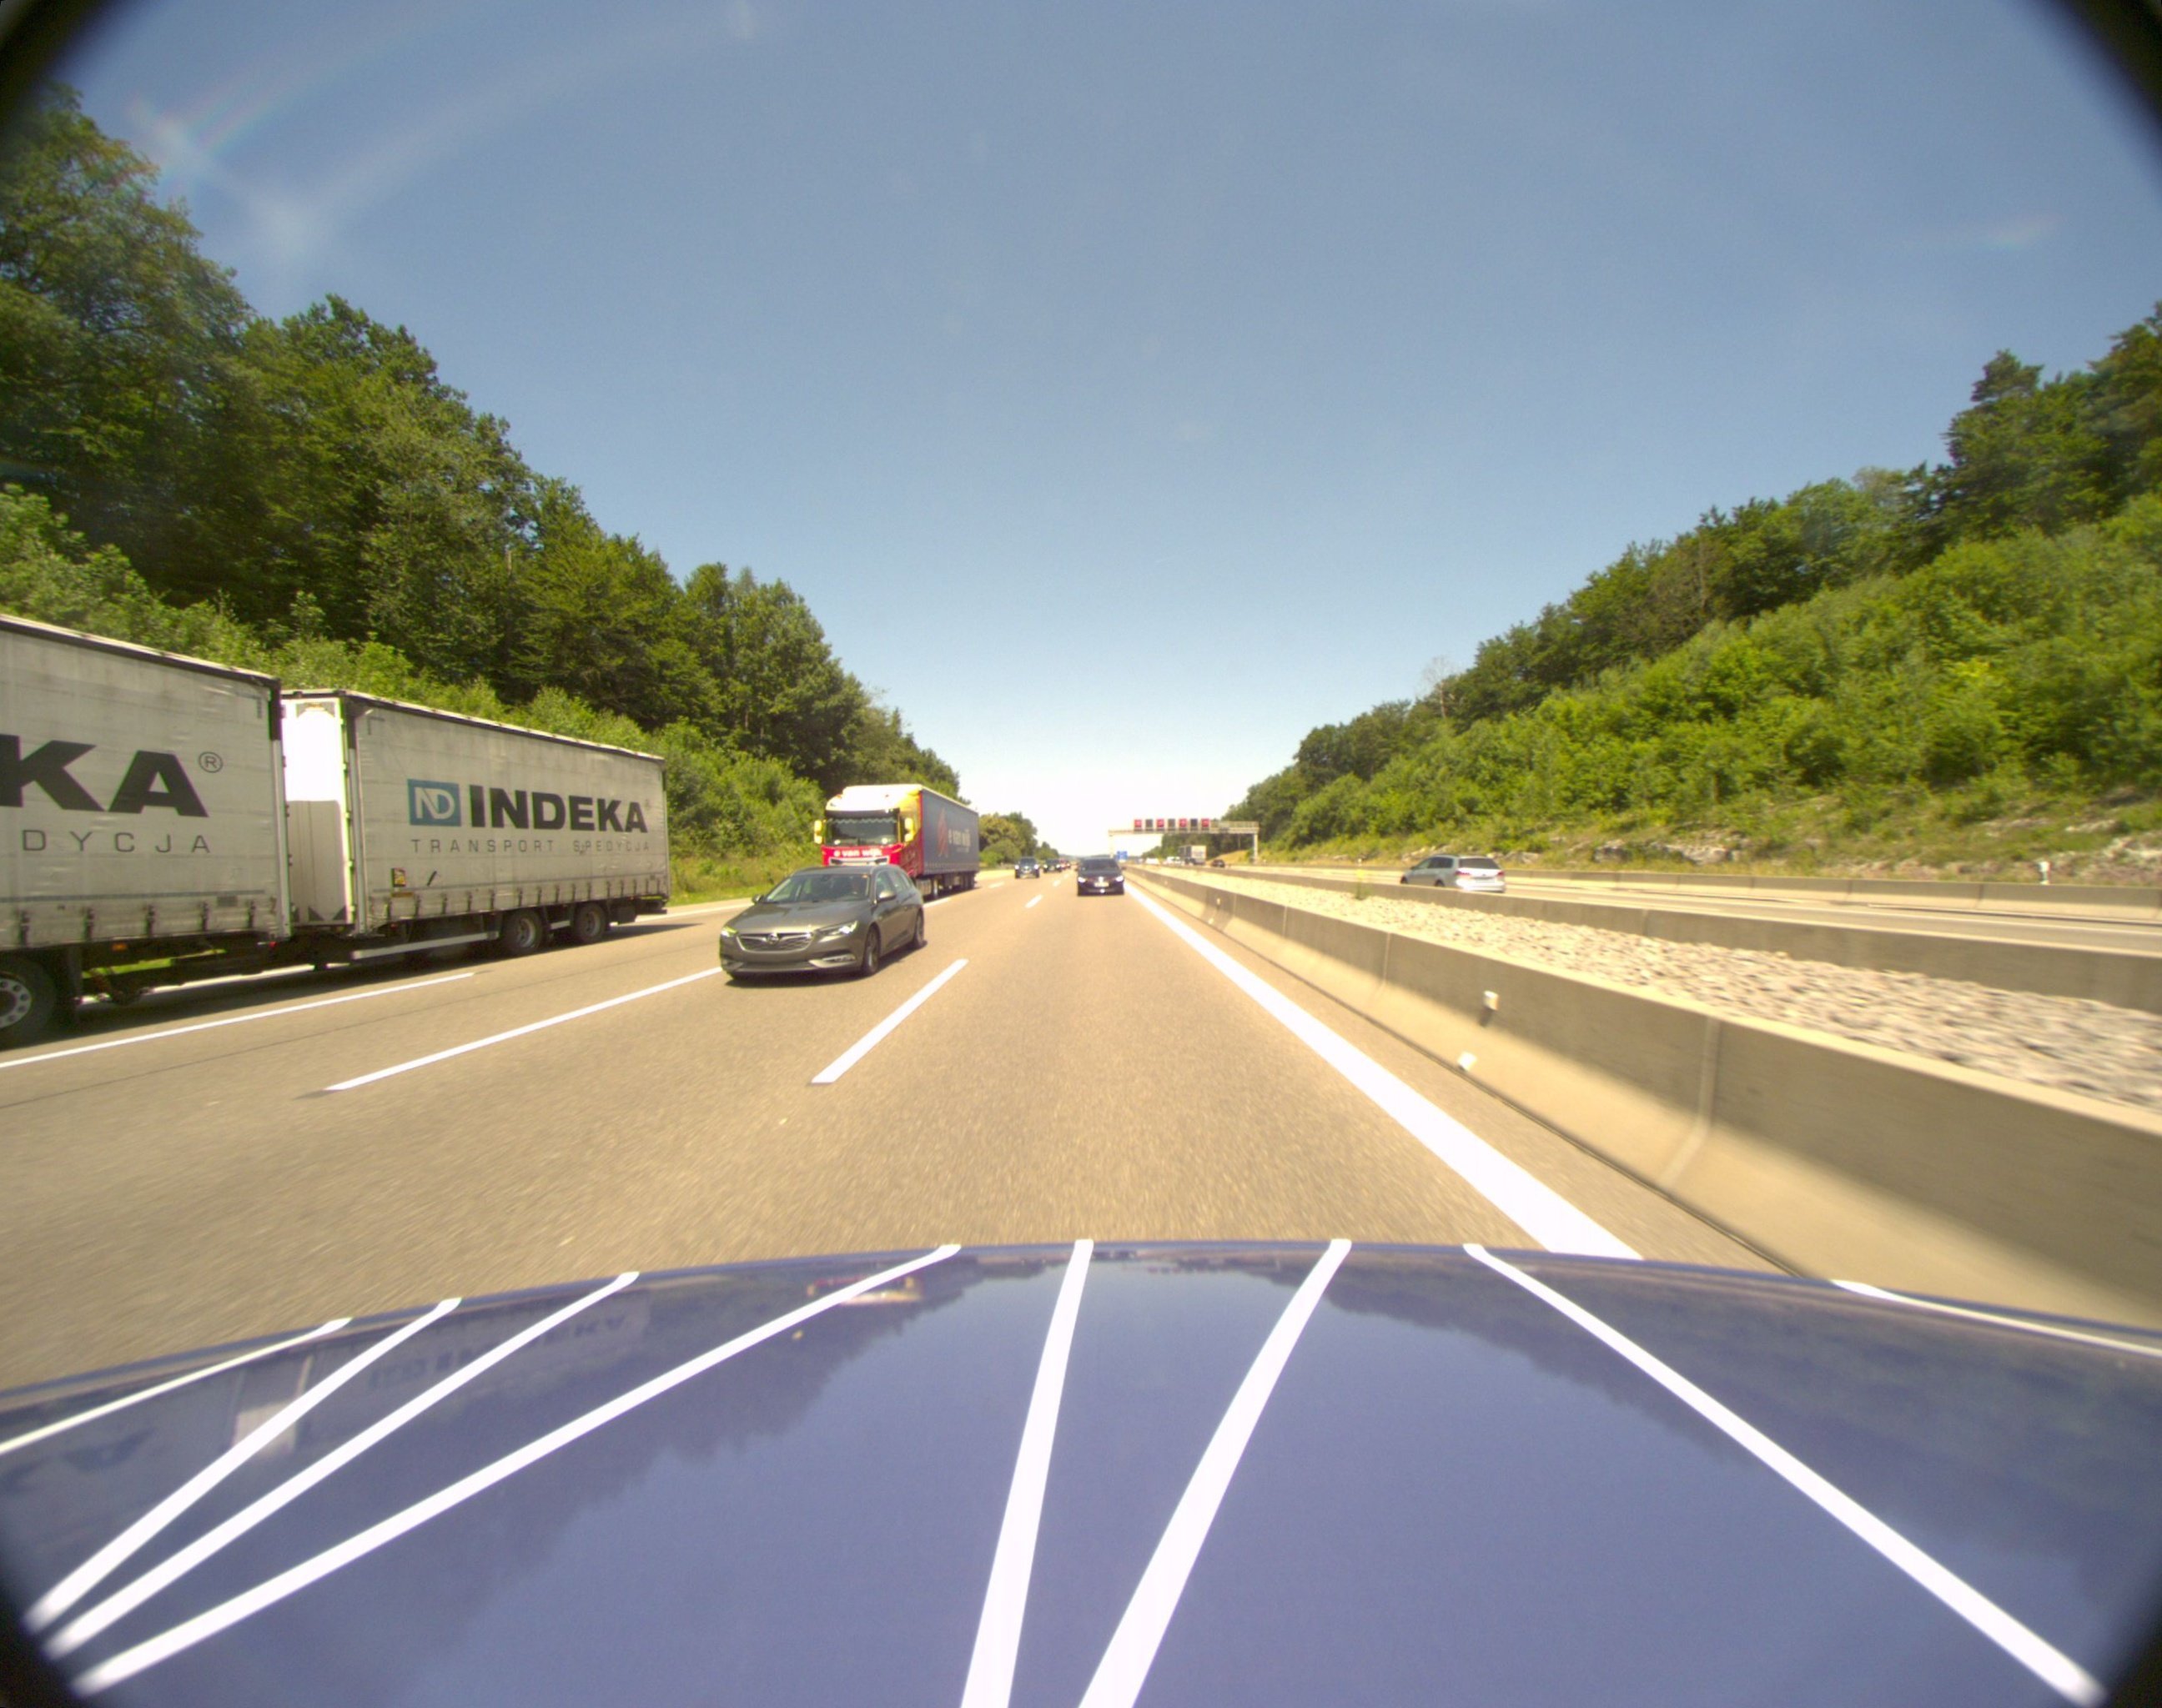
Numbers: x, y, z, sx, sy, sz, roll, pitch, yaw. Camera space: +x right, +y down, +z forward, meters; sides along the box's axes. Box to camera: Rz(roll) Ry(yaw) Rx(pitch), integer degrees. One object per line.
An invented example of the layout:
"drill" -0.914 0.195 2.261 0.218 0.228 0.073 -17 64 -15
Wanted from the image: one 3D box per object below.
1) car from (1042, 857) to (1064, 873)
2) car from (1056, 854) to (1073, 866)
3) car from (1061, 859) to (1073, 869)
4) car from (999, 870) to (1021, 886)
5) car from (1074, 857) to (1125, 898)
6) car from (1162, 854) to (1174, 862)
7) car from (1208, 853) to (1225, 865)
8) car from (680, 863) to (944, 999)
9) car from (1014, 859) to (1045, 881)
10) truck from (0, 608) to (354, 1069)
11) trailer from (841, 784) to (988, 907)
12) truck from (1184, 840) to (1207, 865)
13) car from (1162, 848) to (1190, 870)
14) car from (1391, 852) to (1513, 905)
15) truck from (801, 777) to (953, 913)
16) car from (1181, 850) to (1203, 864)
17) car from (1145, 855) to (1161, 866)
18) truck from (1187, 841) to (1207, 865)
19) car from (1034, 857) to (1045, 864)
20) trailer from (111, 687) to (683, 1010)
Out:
"car" -2.891 1.150 79.832 1.910 1.504 4.159 -2 1 2
"car" -2.187 0.765 100.444 1.910 1.504 4.159 -2 1 2
"car" -2.086 1.464 114.173 1.715 1.308 3.490 -2 1 1
"car" -7.424 2.533 80.129 1.910 1.504 4.159 -1 0 0
"car" 0.718 0.859 29.544 1.777 1.425 4.144 -2 -1 1
"car" 16.347 0.777 142.879 1.743 1.374 3.871 -1 0 1
"car" 20.370 0.712 114.216 1.910 1.644 4.160 -1 0 2
"car" -3.634 0.940 11.557 1.972 1.444 5.224 -2 0 2
"car" -3.956 1.190 58.500 1.910 1.504 4.159 -2 1 2
"truck" -11.094 -0.078 4.476 2.728 4.137 10.968 -2 1 1
"trailer" -6.550 -0.305 33.172 2.926 4.119 14.848 -1 0 1
"truck" 20.691 -0.289 137.580 2.919 4.204 9.863 -1 0 1
"car" 8.954 0.436 71.685 1.998 2.040 5.402 -1 1 1
"car" 11.937 0.724 24.869 1.683 1.539 5.060 -1 0 2
"truck" -6.696 -0.281 26.356 3.018 3.958 7.539 -2 0 1
"car" 12.756 0.360 87.857 1.910 1.504 4.907 -2 1 2
"car" 10.056 0.900 106.322 1.910 1.504 4.159 -2 1 2
"truck" 20.757 -0.246 136.838 2.666 4.204 8.414 -1 0 3
"car" -8.583 1.339 156.852 1.910 1.504 4.159 -1 0 0
"trailer" -10.942 -0.102 13.917 2.585 4.046 8.382 -2 1 1
